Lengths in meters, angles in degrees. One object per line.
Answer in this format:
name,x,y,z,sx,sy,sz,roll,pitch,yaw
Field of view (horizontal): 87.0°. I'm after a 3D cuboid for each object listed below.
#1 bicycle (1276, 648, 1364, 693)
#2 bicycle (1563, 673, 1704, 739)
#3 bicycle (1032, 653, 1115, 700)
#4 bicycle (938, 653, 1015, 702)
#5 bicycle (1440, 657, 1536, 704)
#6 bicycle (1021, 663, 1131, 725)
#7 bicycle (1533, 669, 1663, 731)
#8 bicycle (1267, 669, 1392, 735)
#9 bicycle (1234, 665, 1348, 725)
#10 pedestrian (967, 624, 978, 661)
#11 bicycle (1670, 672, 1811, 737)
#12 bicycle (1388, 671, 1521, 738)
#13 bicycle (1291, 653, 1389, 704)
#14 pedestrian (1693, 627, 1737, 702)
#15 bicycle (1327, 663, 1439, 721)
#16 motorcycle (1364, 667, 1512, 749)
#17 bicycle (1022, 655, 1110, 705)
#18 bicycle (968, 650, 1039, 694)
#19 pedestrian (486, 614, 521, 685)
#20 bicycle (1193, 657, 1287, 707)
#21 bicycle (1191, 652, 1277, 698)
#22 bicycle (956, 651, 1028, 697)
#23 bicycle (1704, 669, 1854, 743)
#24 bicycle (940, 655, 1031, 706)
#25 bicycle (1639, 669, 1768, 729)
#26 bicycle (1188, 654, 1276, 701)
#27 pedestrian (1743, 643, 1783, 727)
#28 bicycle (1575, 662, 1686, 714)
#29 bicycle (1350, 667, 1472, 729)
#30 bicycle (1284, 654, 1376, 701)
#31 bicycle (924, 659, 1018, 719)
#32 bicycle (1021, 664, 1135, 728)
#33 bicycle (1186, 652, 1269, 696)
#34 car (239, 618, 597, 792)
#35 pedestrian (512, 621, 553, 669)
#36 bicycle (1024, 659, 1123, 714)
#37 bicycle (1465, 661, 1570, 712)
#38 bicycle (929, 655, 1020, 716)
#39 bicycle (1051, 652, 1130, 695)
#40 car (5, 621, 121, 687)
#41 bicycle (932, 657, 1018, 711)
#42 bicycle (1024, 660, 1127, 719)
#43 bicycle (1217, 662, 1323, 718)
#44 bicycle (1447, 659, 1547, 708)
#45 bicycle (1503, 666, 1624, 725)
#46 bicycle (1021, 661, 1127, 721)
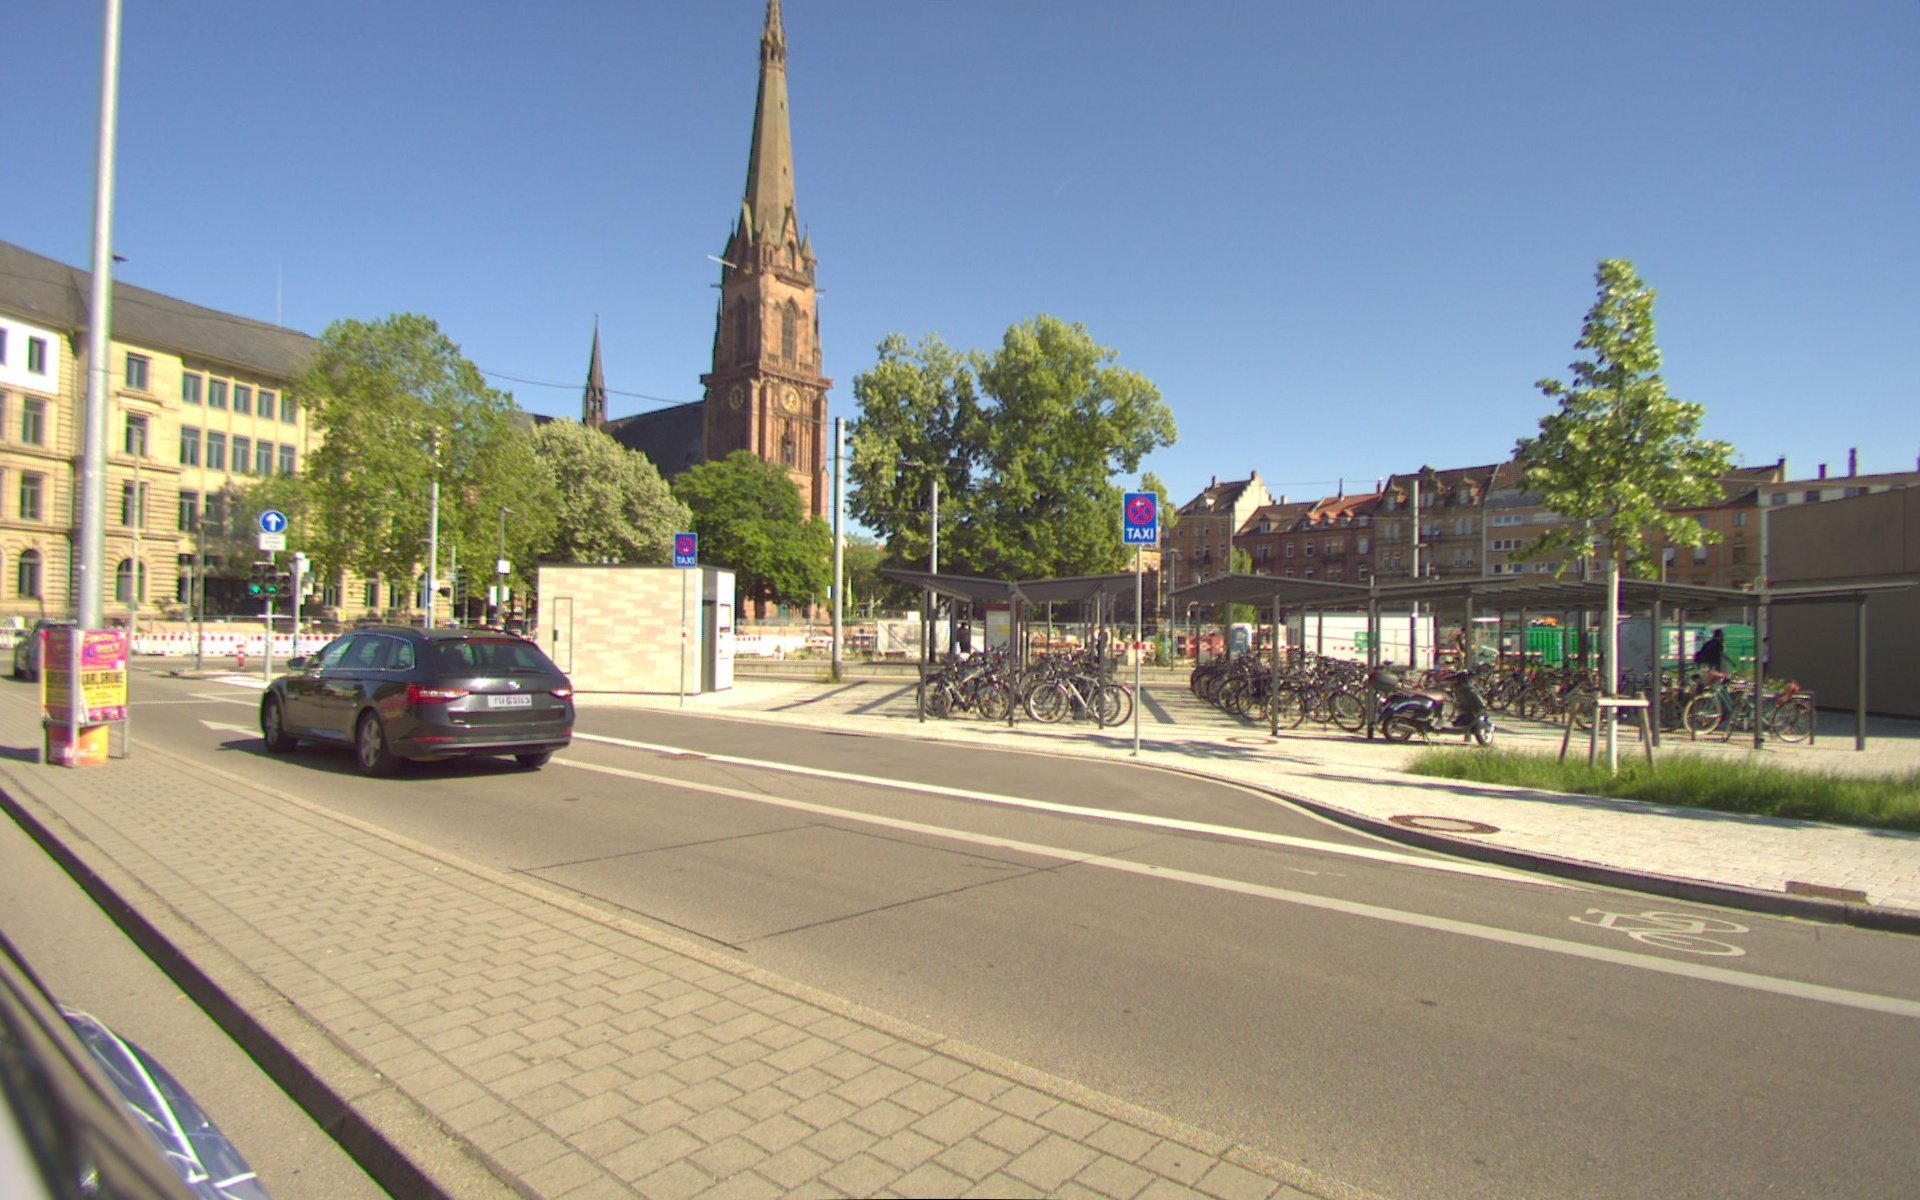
bicycle,8.486,1.654,23.906,1.882,1.016,0.456,0,-2,8
bicycle,10.972,1.719,16.533,1.882,1.016,0.456,0,-2,8
bicycle,2.606,1.750,23.300,1.882,1.016,0.456,0,-2,8
bicycle,0.371,1.693,22.220,1.652,1.016,0.456,0,-2,8
bicycle,12.079,1.838,23.190,1.882,1.016,0.456,0,-2,8
bicycle,2.019,1.626,17.670,1.882,1.016,0.456,0,-2,8
bicycle,11.100,1.734,17.638,1.882,1.016,0.456,0,-2,8
bicycle,6.121,1.684,16.836,1.882,1.016,0.456,0,-2,8
bicycle,5.899,1.685,18.088,1.882,1.016,0.456,0,-2,8
pedestrian,0.586,1.997,47.612,0.399,1.734,0.419,1,-2,-11
bicycle,13.128,1.745,17.061,1.882,1.016,0.456,0,-2,8
bicycle,8.028,1.693,16.490,1.882,1.016,0.456,0,-2,8
bicycle,8.057,1.663,21.515,1.882,1.016,0.456,0,-2,8
pedestrian,19.092,1.614,25.596,0.676,1.848,0.564,0,-2,8
bicycle,7.918,1.714,18.992,1.882,1.016,0.456,0,-2,8
motorcycle,7.161,1.604,15.221,1.924,1.160,0.516,0,-2,6
bicycle,2.297,1.724,21.917,1.882,1.016,0.456,0,-2,8
bicycle,1.042,1.717,24.222,1.652,1.016,0.456,0,-2,8
pedestrian,-12.133,1.304,26.888,0.683,1.868,0.680,2,-2,-38
bicycle,5.965,1.749,21.605,1.882,1.016,0.456,0,-2,8
bicycle,6.366,1.734,23.563,1.882,1.016,0.456,0,-2,8
bicycle,0.746,1.712,23.478,1.652,1.016,0.456,0,-2,8
bicycle,13.081,1.687,16.202,1.882,1.106,0.456,0,-2,8
bicycle,0.543,1.677,21.222,1.882,1.016,0.456,0,-2,8
bicycle,13.469,1.779,18.360,1.882,1.016,0.456,0,-2,8
bicycle,6.149,1.740,22.939,1.882,1.016,0.456,0,-2,8
pedestrian,19.789,2.079,24.933,0.718,2.029,0.678,-1,-4,41
bicycle,13.873,1.820,20.967,1.882,1.016,0.456,0,-2,8
bicycle,7.894,1.711,17.759,1.882,1.016,0.456,0,-2,8
bicycle,8.316,1.737,22.814,1.882,1.016,0.456,0,-2,8
bicycle,0.201,1.587,18.187,1.652,1.016,0.456,0,-2,8
bicycle,1.989,1.604,17.110,1.882,1.016,0.456,0,-2,8
bicycle,6.393,1.764,24.221,1.882,1.016,0.456,0,-2,8
car,-6.011,0.982,10.978,4.571,1.511,1.771,-1,-3,39
pedestrian,-16.176,1.680,38.291,1.130,1.793,0.965,-1,-2,40
bicycle,2.196,1.661,19.581,1.882,1.016,0.456,0,-2,8
bicycle,11.714,1.816,21.309,1.882,1.016,0.456,0,-2,8
bicycle,0.280,1.577,18.772,1.652,1.069,0.456,0,-2,8
bicycle,3.162,1.779,24.595,1.882,1.016,0.456,0,-2,8
car,-23.328,1.364,26.270,4.241,1.554,1.835,-1,-4,44
bicycle,0.305,1.637,19.884,1.652,1.016,0.456,0,-2,8
bicycle,2.136,1.647,18.740,1.882,1.016,0.456,0,-2,8
bicycle,5.897,1.710,19.319,1.882,1.016,0.456,0,-2,8
bicycle,11.784,1.827,22.239,1.882,1.016,0.456,0,-2,8
bicycle,11.164,1.758,18.753,1.882,1.016,0.456,0,-2,8
bicycle,2.054,1.635,18.257,1.882,1.016,0.456,0,-2,8
